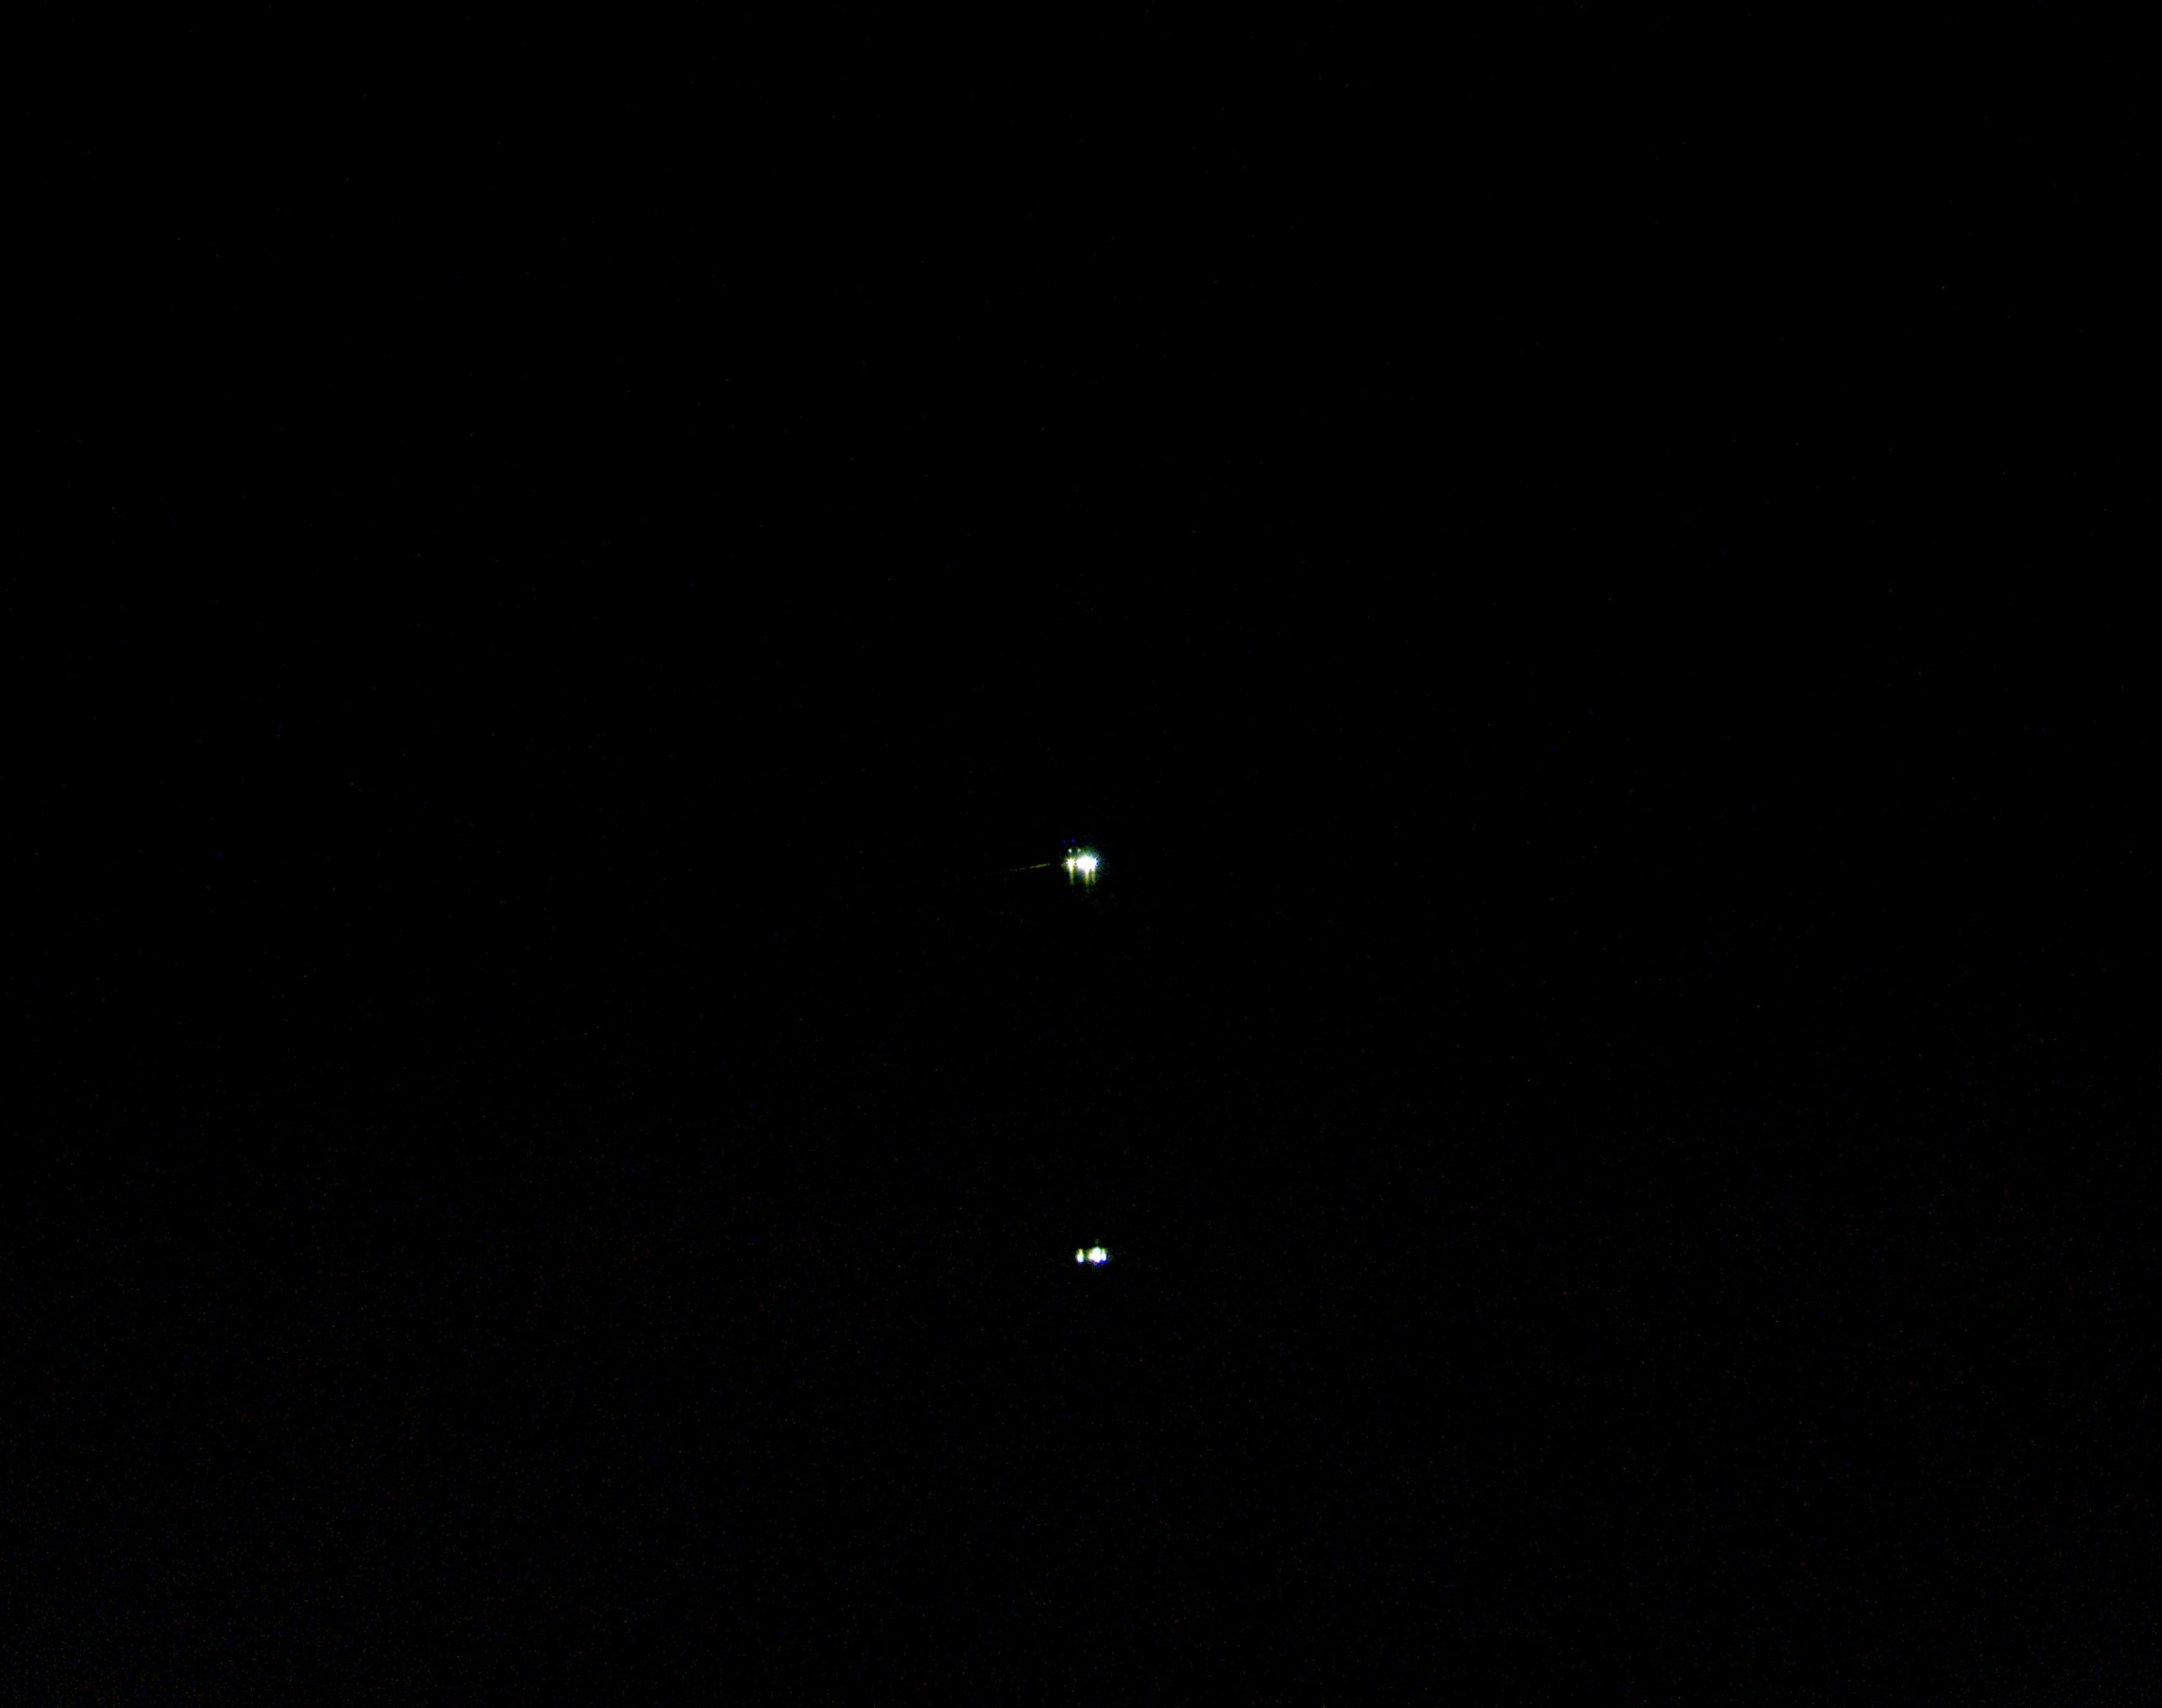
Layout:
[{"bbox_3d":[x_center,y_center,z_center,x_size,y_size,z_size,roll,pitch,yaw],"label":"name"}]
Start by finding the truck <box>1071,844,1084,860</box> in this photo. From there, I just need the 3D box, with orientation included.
[{"bbox_3d":[-0.957,-0.500,195.631,3.003,3.876,12.889,-3,0,0],"label":"truck"}]

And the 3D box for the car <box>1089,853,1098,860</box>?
[{"bbox_3d":[2.944,0.586,180.250,1.845,1.474,4.293,-3,0,3],"label":"car"}]
